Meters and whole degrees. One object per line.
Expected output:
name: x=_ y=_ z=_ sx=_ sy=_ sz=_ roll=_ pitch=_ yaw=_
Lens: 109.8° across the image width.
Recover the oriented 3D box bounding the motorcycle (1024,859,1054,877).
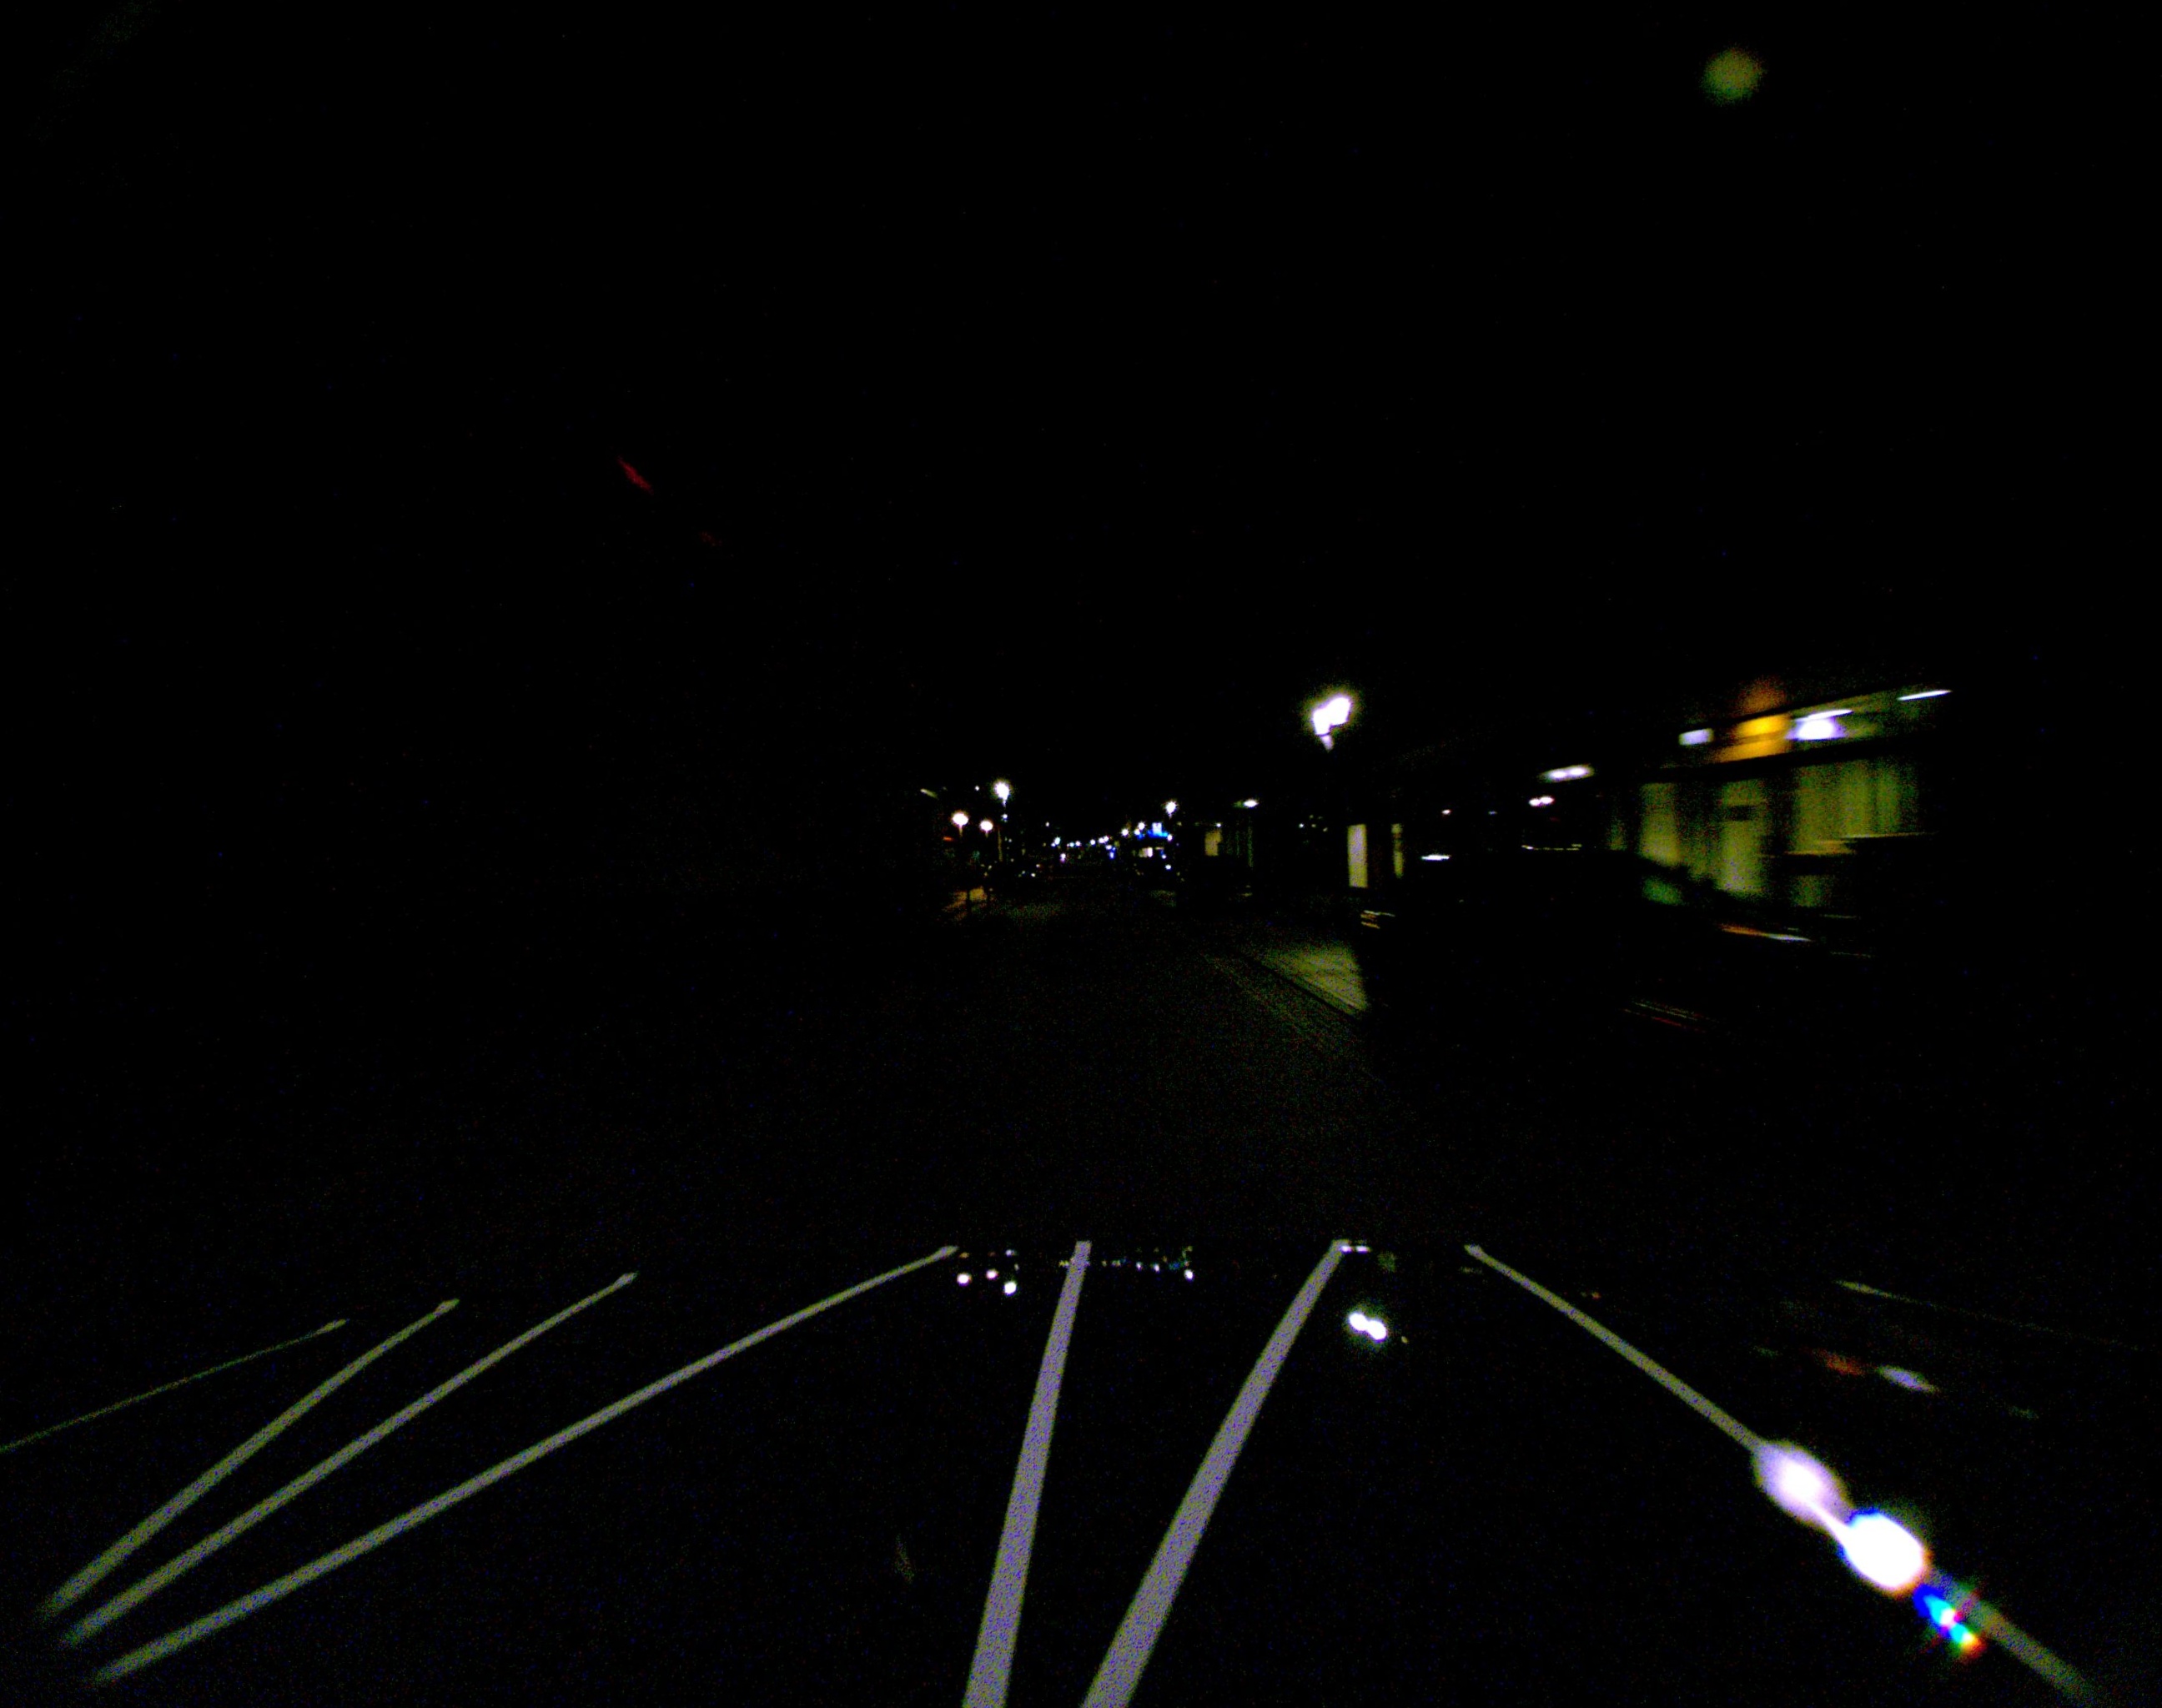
motorcycle: x=-3.012 y=0.980 z=54.451 sx=2.165 sy=1.290 sz=0.516 roll=0 pitch=1 yaw=31

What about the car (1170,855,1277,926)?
car: x=3.505 y=0.827 z=19.439 sx=1.802 sy=1.469 sz=4.321 roll=-4 pitch=0 yaw=0

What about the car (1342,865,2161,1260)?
car: x=3.382 y=0.852 z=5.157 sx=1.721 sy=1.404 sz=4.385 roll=-3 pitch=0 yaw=1

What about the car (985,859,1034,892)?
car: x=-3.254 y=0.966 z=35.435 sx=1.665 sy=1.369 sz=4.104 roll=1 pitch=0 yaw=3

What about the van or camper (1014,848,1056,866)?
van or camper: x=-6.994 y=0.450 z=115.530 sx=6.061 sy=2.518 sz=2.157 roll=-1 pitch=0 yaw=-31

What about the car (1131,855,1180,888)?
car: x=3.588 y=0.807 z=37.393 sx=1.850 sy=1.455 sz=4.622 roll=-3 pitch=0 yaw=-1

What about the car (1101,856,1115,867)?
car: x=3.879 y=1.094 z=108.532 sx=1.655 sy=1.417 sz=4.014 roll=-4 pitch=0 yaw=-1

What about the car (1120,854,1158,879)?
car: x=3.728 y=0.794 z=49.613 sx=1.905 sy=1.462 sz=4.524 roll=-2 pitch=0 yaw=-2

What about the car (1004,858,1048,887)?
car: x=-2.896 y=0.947 z=40.799 sx=1.757 sy=1.455 sz=4.467 roll=1 pitch=0 yaw=3

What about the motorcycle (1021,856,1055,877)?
motorcycle: x=-3.004 y=0.874 z=52.695 sx=2.266 sy=1.383 sz=0.662 roll=0 pitch=1 yaw=25
